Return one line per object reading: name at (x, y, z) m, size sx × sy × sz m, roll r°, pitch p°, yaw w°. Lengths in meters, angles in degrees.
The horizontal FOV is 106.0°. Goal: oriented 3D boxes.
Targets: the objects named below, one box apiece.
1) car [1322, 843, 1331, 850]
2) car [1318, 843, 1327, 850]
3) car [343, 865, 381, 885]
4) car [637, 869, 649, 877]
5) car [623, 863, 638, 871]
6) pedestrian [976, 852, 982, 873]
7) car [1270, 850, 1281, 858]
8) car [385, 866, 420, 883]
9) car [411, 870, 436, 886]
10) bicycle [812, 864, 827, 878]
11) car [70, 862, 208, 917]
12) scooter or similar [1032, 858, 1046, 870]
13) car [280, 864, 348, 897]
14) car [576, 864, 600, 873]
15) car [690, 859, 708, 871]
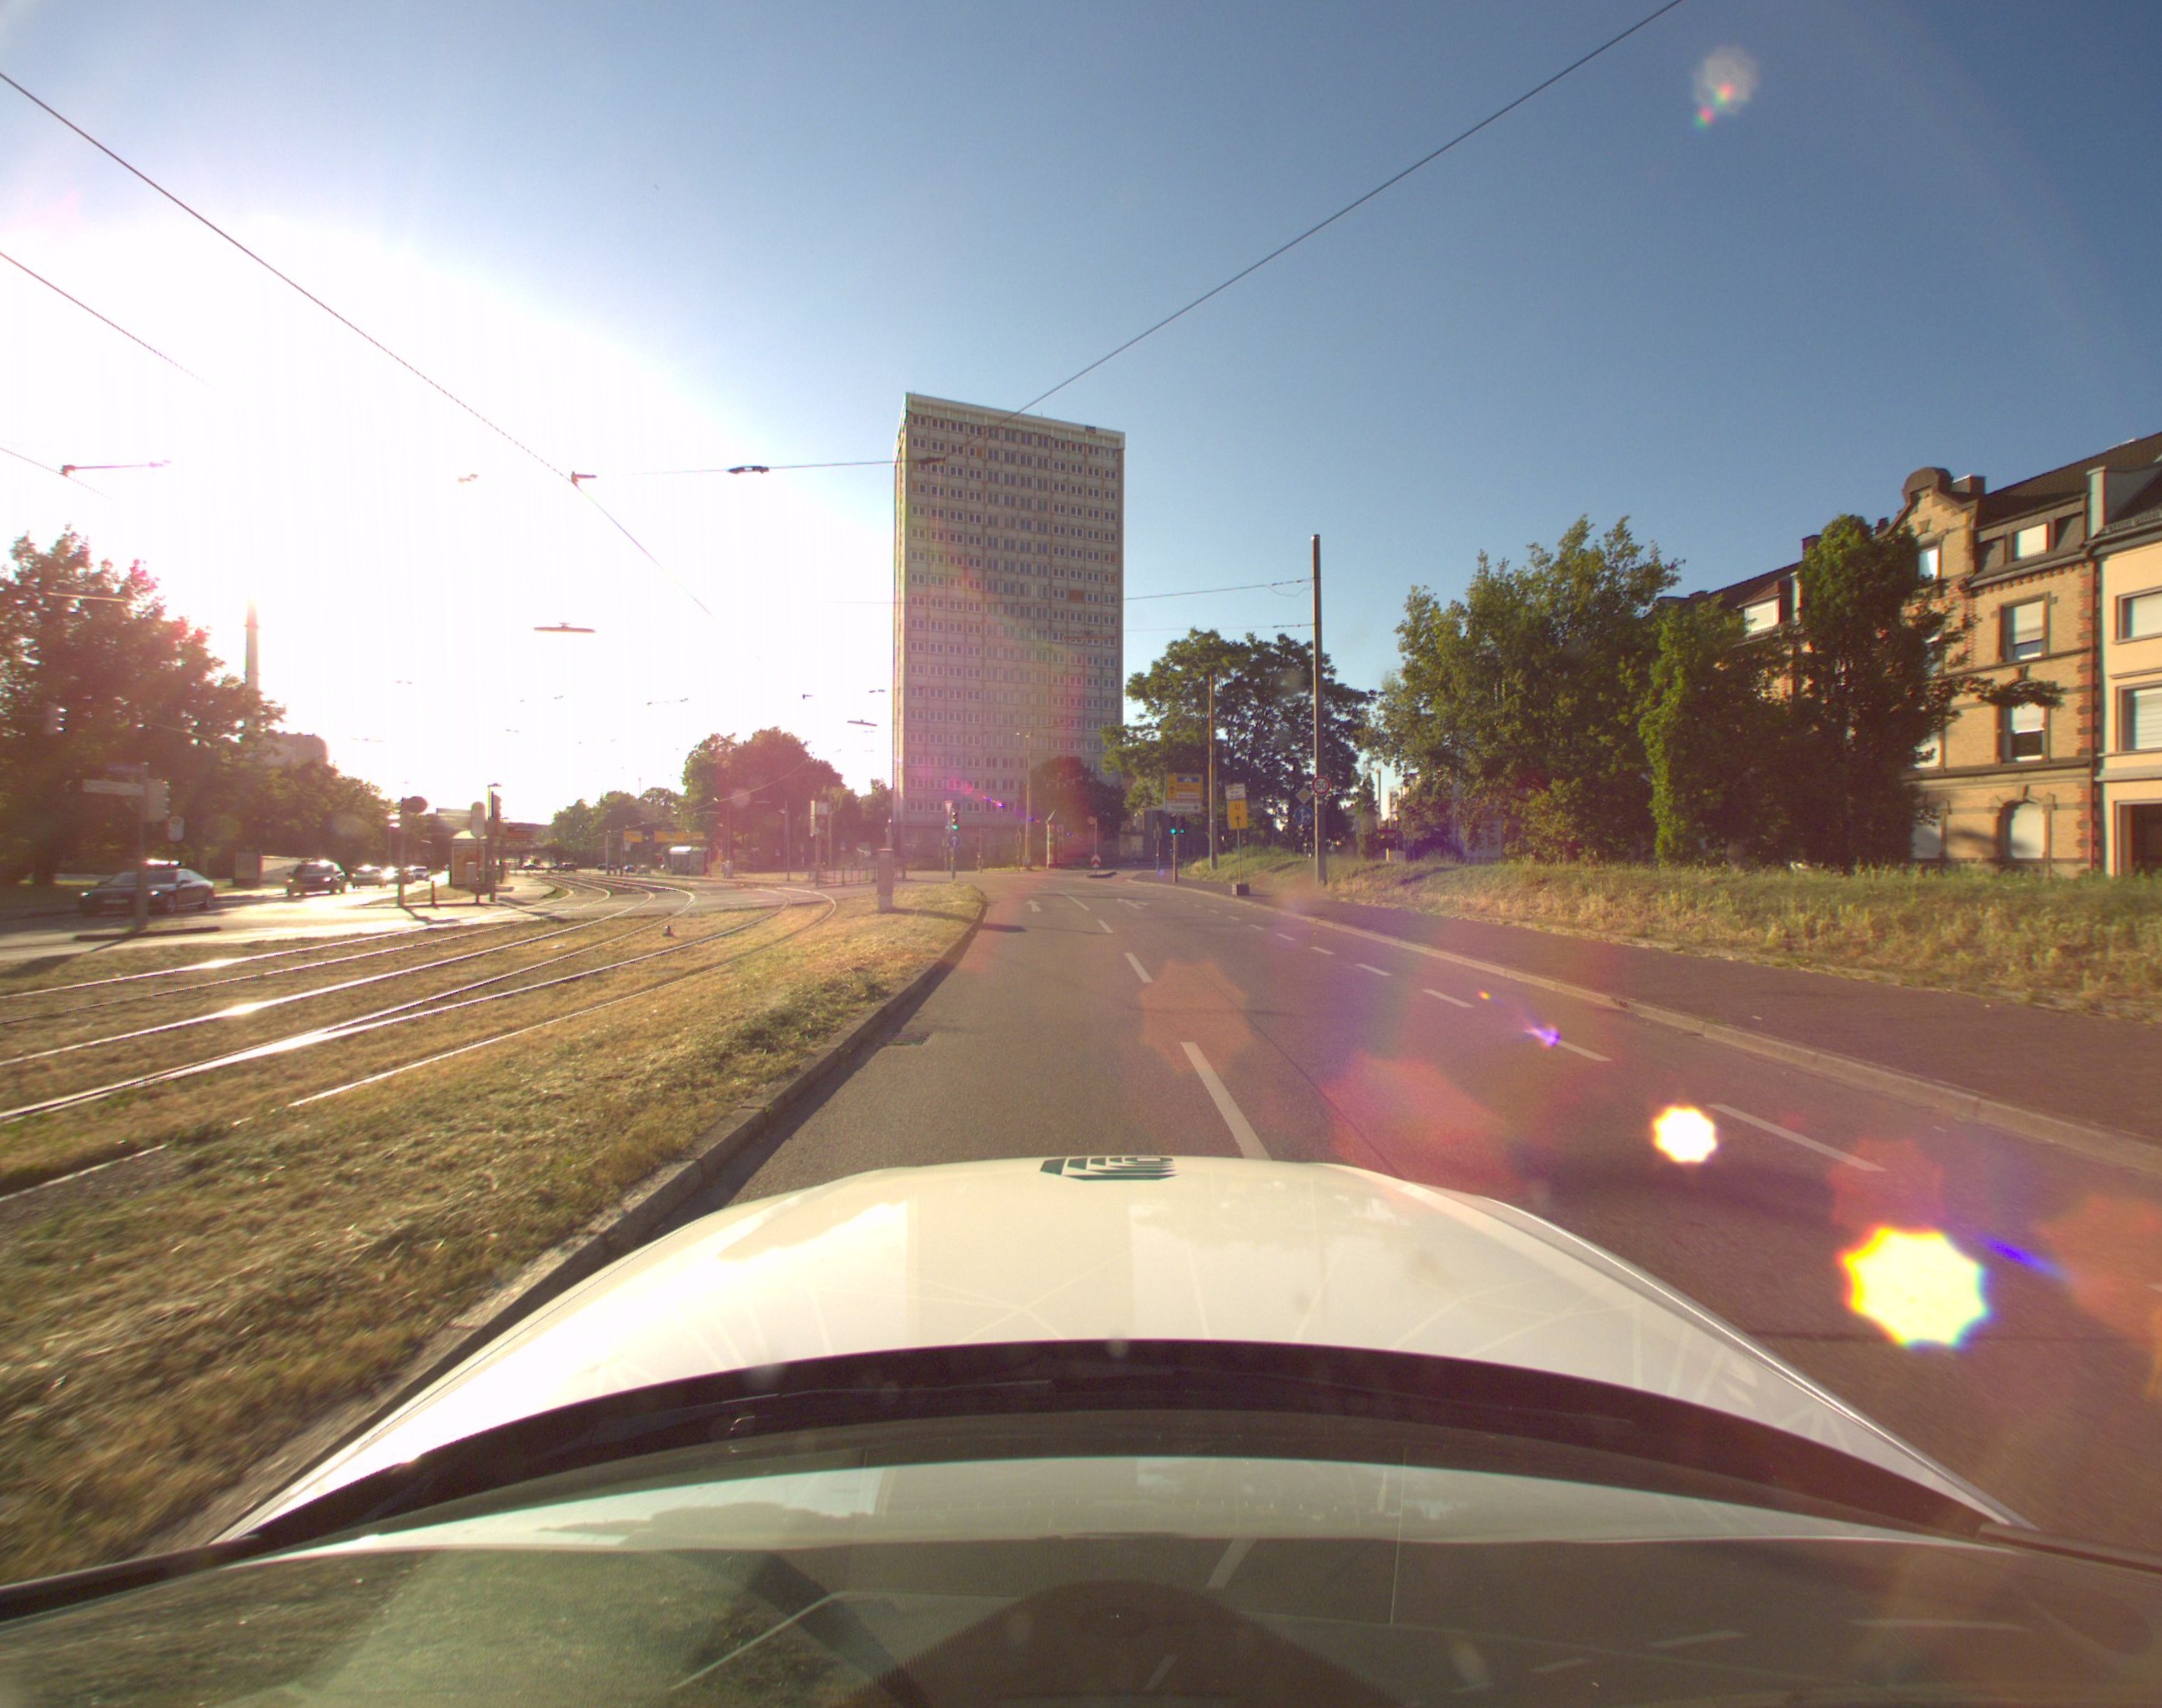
car at (56.303, -1.799, 186.481) m, size 1.844 × 1.543 × 3.897 m, roll -1°, pitch 0°, yaw 18°
car at (59.408, -1.852, 200.421) m, size 1.844 × 1.543 × 4.019 m, roll -1°, pitch 0°, yaw 18°
car at (-50.312, 1.442, 57.074) m, size 1.556 × 1.340 × 3.555 m, roll 0°, pitch 0°, yaw -34°
car at (-80.960, 3.530, 150.420) m, size 1.526 × 1.387 × 3.327 m, roll 0°, pitch 0°, yaw -35°
car at (-88.990, 2.561, 160.938) m, size 2.054 × 1.446 × 3.956 m, roll -1°, pitch 1°, yaw -37°
pedestrian at (-7.981, 0.682, 63.610) m, size 0.436 × 1.612 × 0.628 m, roll -1°, pitch 0°, yaw -7°
car at (37.516, 0.011, 156.924) m, size 1.859 × 1.458 × 3.804 m, roll -1°, pitch 1°, yaw 17°
car at (-57.720, 1.703, 69.318) m, size 1.814 × 1.367 × 3.925 m, roll 0°, pitch 0°, yaw -33°
car at (-69.398, 2.515, 85.964) m, size 1.702 × 1.530 × 3.662 m, roll 0°, pitch 0°, yaw -34°
bicycle at (-18.151, 1.148, 56.585) m, size 0.552 × 0.918 × 1.741 m, roll -2°, pitch 0°, yaw -4°
car at (-30.137, 1.070, 26.227) m, size 1.663 × 1.596 × 4.539 m, roll 0°, pitch -1°, yaw -32°
scooter or similar at (-4.204, 1.041, 81.834) m, size 1.300 × 1.170 × 0.325 m, roll -1°, pitch 0°, yaw -17°
car at (-39.398, 1.337, 41.922) m, size 1.590 × 1.595 × 4.113 m, roll 1°, pitch -1°, yaw -30°
car at (-124.519, 3.685, 205.833) m, size 4.860 × 2.013 × 1.988 m, roll 0°, pitch 0°, yaw -19°
car at (-48.133, 1.380, 102.583) m, size 1.783 × 1.422 × 3.818 m, roll -1°, pitch 0°, yaw -30°
